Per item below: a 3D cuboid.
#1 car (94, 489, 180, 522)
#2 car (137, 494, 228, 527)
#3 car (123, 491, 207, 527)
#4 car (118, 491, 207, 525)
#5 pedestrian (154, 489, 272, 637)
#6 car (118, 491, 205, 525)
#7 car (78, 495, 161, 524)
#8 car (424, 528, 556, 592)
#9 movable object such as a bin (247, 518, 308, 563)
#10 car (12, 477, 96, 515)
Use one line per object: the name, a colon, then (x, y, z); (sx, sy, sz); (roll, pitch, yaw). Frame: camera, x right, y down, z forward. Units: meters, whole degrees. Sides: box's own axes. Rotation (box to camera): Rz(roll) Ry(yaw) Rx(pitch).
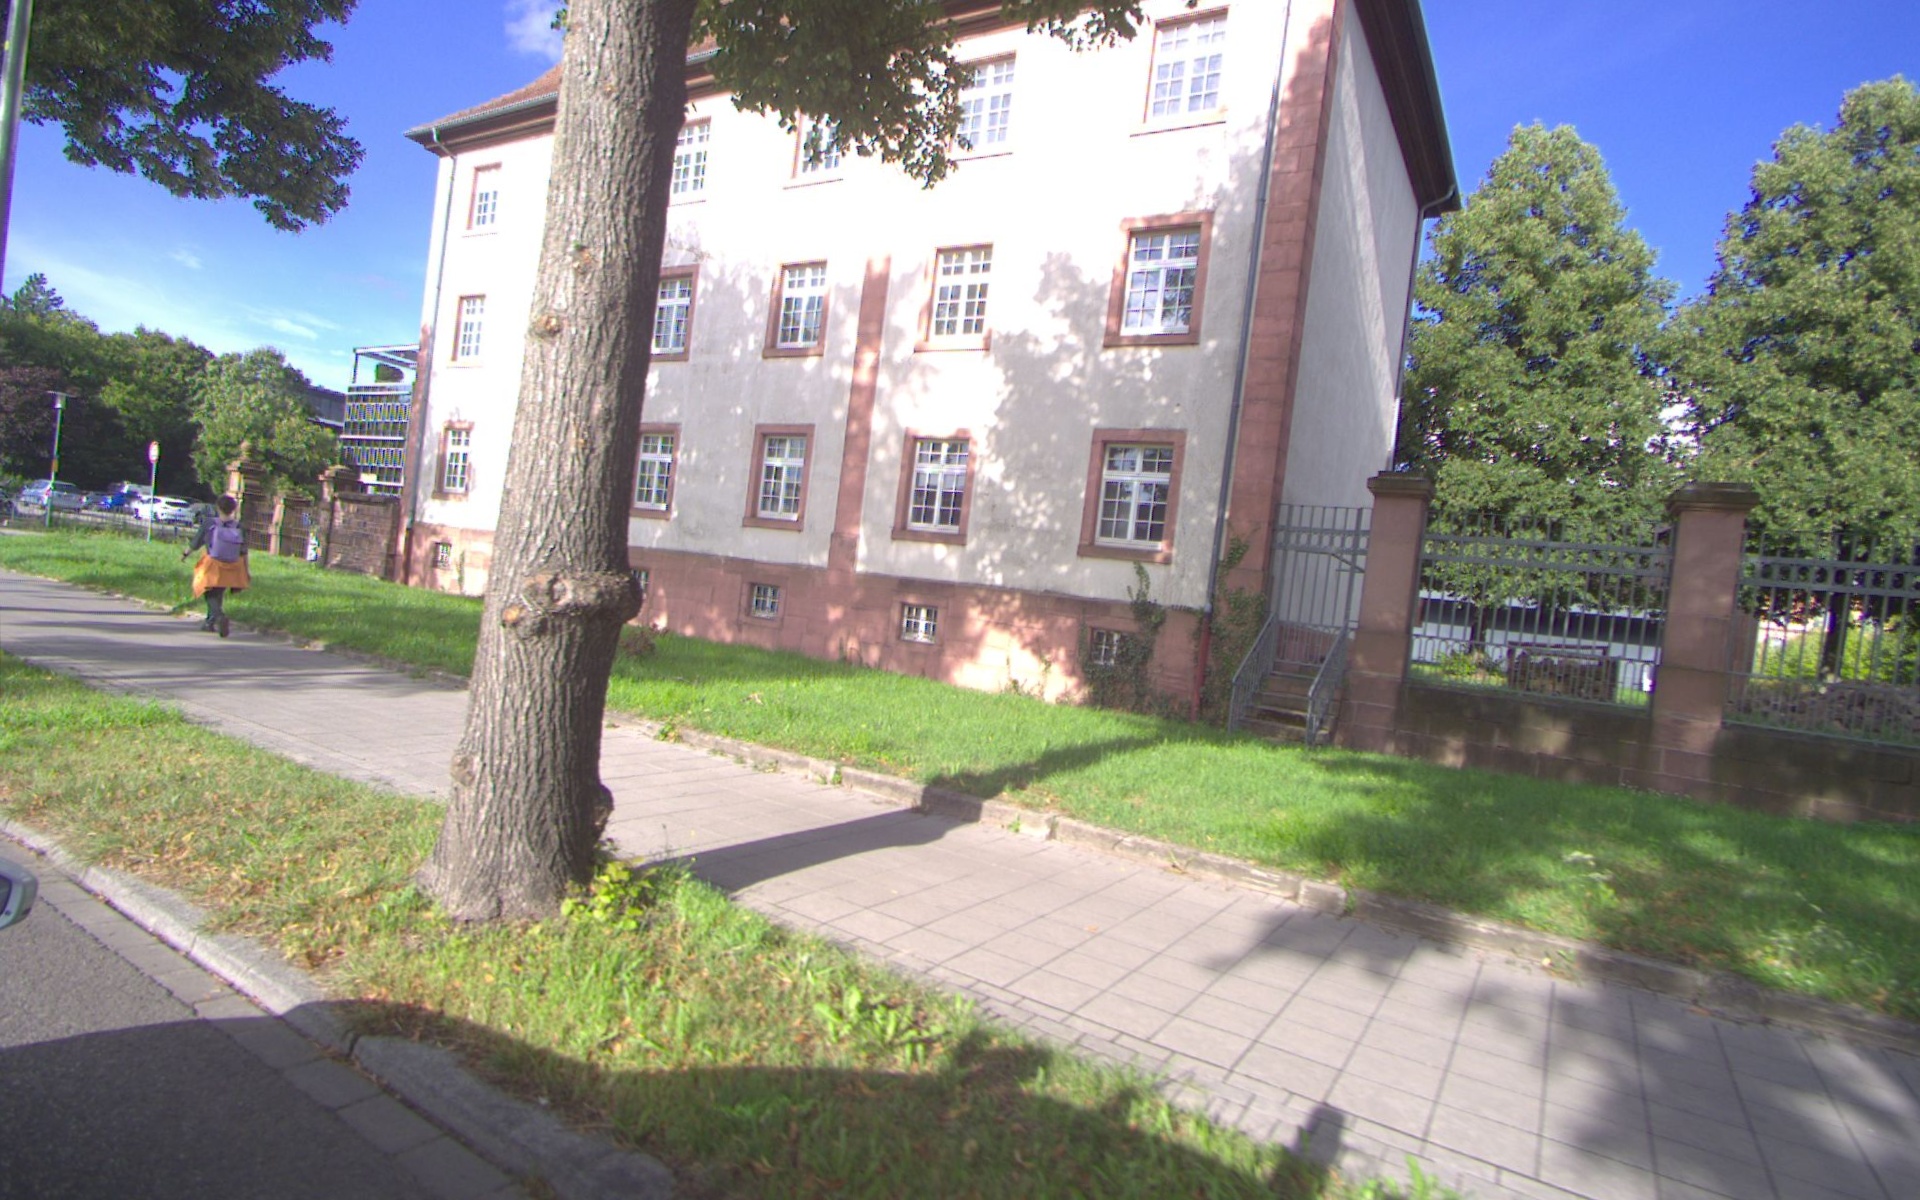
car: (-55.250, -6.306, 67.573); (1.966, 1.571, 3.991); (7, 1, 31)
car: (-47.530, -5.459, 61.562); (1.970, 1.325, 3.988); (6, -2, 37)
car: (-43.651, -4.986, 55.213); (3.928, 1.460, 1.998); (7, 1, 25)
car: (-51.133, -5.901, 64.542); (1.966, 1.505, 3.991); (7, 1, 31)
pedestrian: (-8.664, -0.414, 11.680); (0.756, 1.612, 0.814); (7, 3, 31)
car: (-52.909, -6.065, 66.720); (1.966, 1.616, 3.991); (7, 1, 31)
car: (-59.104, -6.344, 70.783); (1.966, 1.346, 3.992); (7, 1, 30)
car: (-15.791, -1.344, 33.742); (4.433, 1.629, 1.993); (7, 1, 35)
movable object such as a bin: (-22.248, -1.927, 32.828); (1.074, 1.246, 1.193); (7, 0, 29)
car: (-46.525, -5.345, 51.639); (3.931, 1.460, 1.996); (7, 1, 29)
